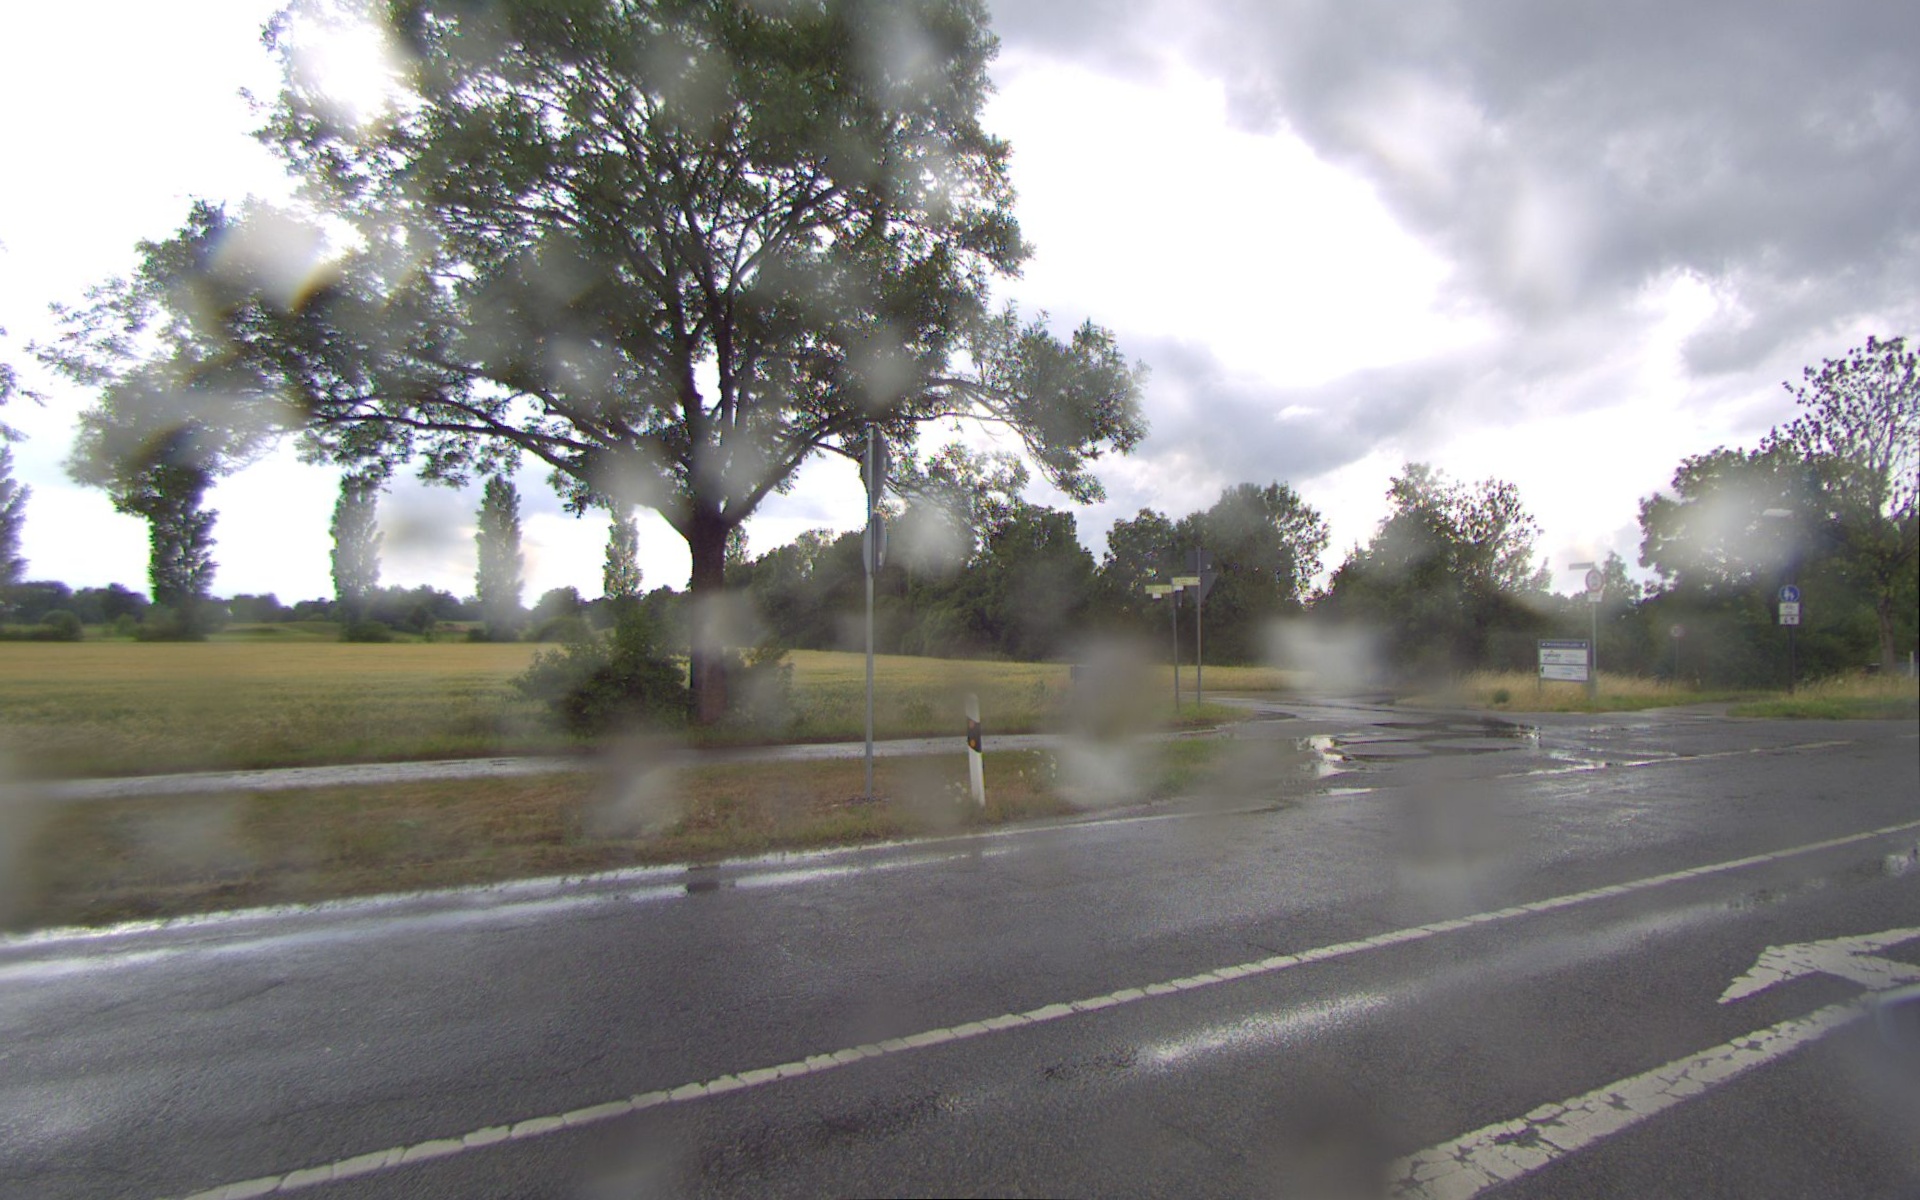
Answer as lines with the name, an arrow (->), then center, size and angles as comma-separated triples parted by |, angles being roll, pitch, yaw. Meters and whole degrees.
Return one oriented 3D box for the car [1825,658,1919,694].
car -> 45.704, 3.752, 49.812 | 4.561, 1.568, 2.299 | 2, 0, -19
